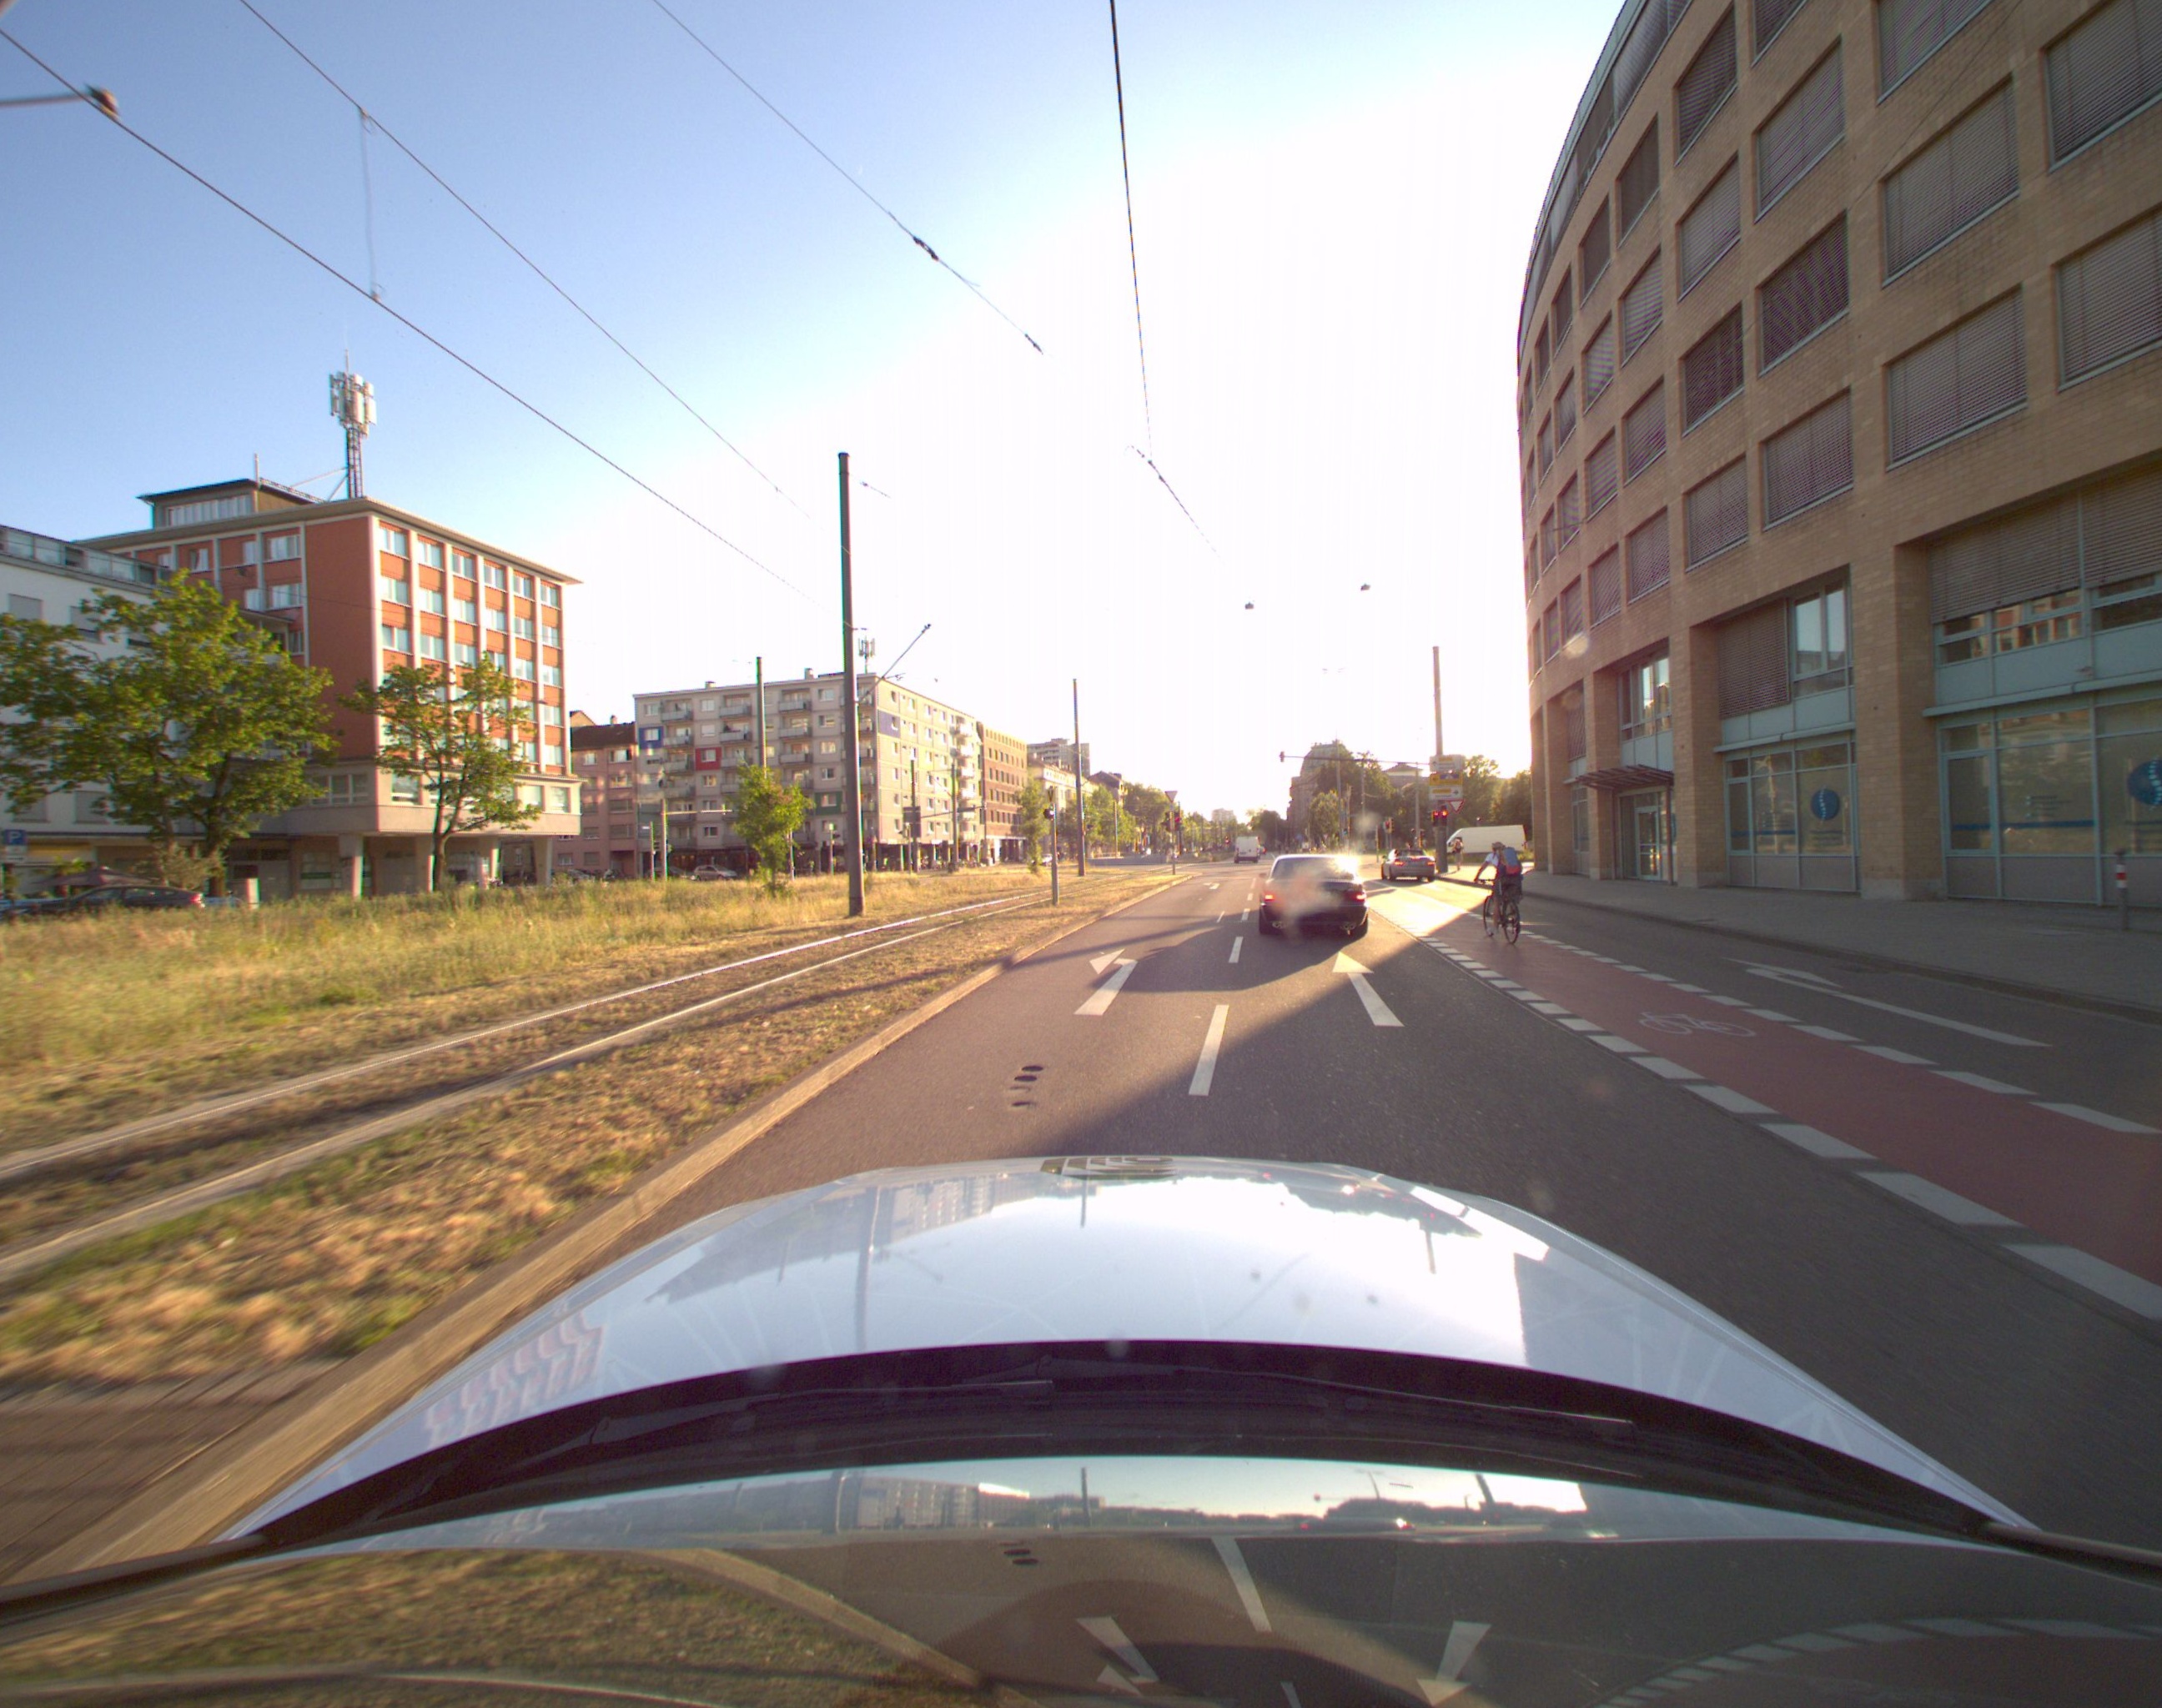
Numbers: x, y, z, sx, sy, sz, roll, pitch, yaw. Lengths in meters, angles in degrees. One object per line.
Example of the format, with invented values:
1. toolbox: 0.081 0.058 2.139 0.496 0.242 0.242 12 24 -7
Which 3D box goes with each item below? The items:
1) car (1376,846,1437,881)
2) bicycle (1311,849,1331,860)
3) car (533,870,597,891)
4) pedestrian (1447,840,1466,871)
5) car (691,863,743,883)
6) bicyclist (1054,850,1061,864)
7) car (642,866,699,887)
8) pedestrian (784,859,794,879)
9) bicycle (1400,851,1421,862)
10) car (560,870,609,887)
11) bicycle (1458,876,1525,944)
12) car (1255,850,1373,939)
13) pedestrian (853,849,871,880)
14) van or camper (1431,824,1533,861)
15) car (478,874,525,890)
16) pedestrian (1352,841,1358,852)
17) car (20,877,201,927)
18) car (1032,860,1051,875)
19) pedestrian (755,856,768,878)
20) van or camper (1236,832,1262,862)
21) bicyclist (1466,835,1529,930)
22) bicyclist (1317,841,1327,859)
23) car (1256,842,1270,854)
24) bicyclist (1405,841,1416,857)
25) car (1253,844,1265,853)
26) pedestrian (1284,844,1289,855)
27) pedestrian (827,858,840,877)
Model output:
1. car: 14.056 0.362 35.349 1.771 1.354 4.281 -1 1 12
2. bicycle: 21.919 0.046 74.286 1.716 0.970 0.612 -1 1 14
3. car: -44.501 2.251 70.253 4.256 1.585 1.993 -2 1 7
4. pedestrian: 19.546 0.087 42.385 0.672 1.569 0.803 -2 1 10
5. car: -32.826 1.698 73.554 3.843 1.585 1.808 -2 1 7
6. bicyclist: -2.606 0.328 91.150 0.657 1.442 0.858 0 1 7
7. car: -34.080 1.860 67.667 3.843 1.585 1.808 -2 1 7
8. pedestrian: -25.021 1.271 69.835 0.510 1.629 0.617 -2 1 13
9. bicycle: 29.728 0.198 73.452 1.702 0.970 0.613 -1 1 26
10. car: -54.072 2.665 88.698 4.262 1.585 1.808 -2 1 7
11. bicycle: 6.668 0.872 13.308 0.511 0.954 1.781 0 1 11
12. car: 4.274 0.643 15.479 1.817 1.354 4.658 -1 1 13
13. pedestrian: -12.848 0.620 47.821 0.712 1.762 0.654 -2 1 34
14. van or camper: 32.565 -0.933 66.387 6.991 2.674 2.609 -2 1 15
15. car: -63.433 3.052 89.142 3.843 1.585 1.808 -2 1 7
16. pedestrian: 39.343 -1.058 116.808 0.677 1.611 0.615 -2 1 13
17. car: -37.393 1.799 31.508 1.737 1.526 4.320 -2 1 35
18. car: -4.476 1.486 92.031 1.712 1.434 3.988 -1 2 -9
19. pedestrian: -27.610 1.159 70.436 0.700 1.851 0.740 -2 1 13
20. van or camper: 16.031 -0.680 77.570 2.247 2.624 4.520 -2 1 14
21. bicyclist: 6.778 0.447 13.290 0.651 1.483 1.041 0 0 11
22. bicyclist: 21.992 -0.398 74.261 0.792 1.571 0.666 -2 1 15
23. car: 23.511 -0.787 105.017 1.725 1.385 4.015 -2 1 13
24. bicyclist: 29.720 -0.440 73.424 0.845 1.442 0.667 -2 1 25
25. car: 32.247 -0.995 147.413 1.783 1.566 4.011 -2 1 9
26. pedestrian: 27.218 -0.587 107.932 0.611 1.475 0.804 -2 1 17
27. pedestrian: -22.161 1.197 72.923 0.732 1.669 0.787 -2 1 26
